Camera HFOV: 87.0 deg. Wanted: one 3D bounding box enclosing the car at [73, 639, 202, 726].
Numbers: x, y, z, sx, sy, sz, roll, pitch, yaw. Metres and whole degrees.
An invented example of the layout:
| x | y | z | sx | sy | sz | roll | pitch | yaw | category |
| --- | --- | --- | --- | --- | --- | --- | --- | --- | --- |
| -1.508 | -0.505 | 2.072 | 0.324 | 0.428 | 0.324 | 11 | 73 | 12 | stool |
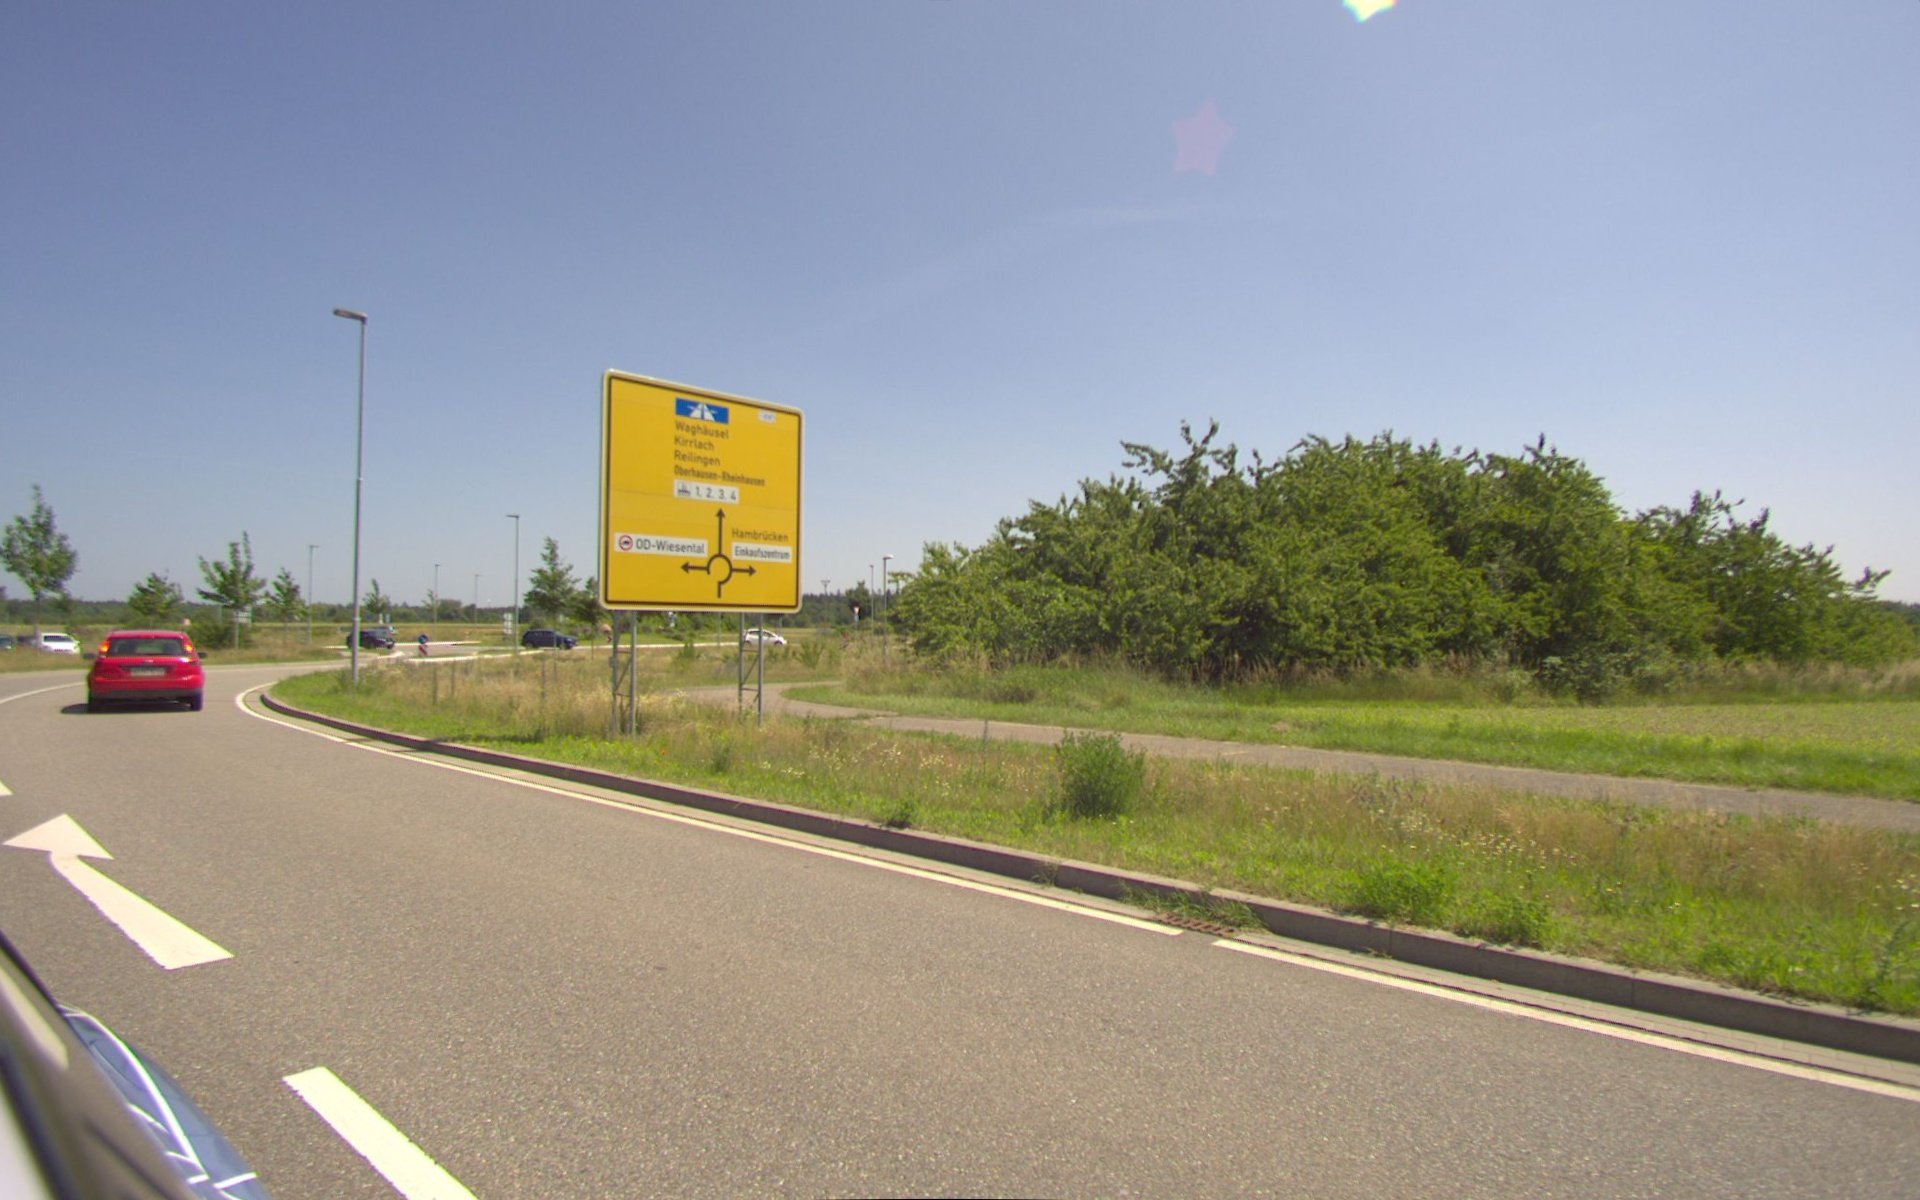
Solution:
| x | y | z | sx | sy | sz | roll | pitch | yaw | category |
| --- | --- | --- | --- | --- | --- | --- | --- | --- | --- |
| -15.390 | 1.482 | 18.876 | 1.635 | 1.444 | 3.741 | 4 | -4 | -41 | car |

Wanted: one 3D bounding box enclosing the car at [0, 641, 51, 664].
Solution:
| x | y | z | sx | sy | sz | roll | pitch | yaw | category |
| --- | --- | --- | --- | --- | --- | --- | --- | --- | --- |
| -57.348 | 3.210 | 61.836 | 3.988 | 1.321 | 1.727 | -1 | -3 | 33 | car |

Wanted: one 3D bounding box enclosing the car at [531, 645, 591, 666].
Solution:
| x | y | z | sx | sy | sz | roll | pitch | yaw | category |
| --- | --- | --- | --- | --- | --- | --- | --- | --- | --- |
| -31.822 | 4.414 | 80.755 | 4.088 | 1.573 | 1.724 | 1 | -1 | -5 | car |

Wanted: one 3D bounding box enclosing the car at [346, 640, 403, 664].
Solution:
| x | y | z | sx | sy | sz | roll | pitch | yaw | category |
| --- | --- | --- | --- | --- | --- | --- | --- | --- | --- |
| -49.694 | 4.385 | 85.888 | 4.492 | 1.836 | 1.855 | 0 | -1 | 23 | car |

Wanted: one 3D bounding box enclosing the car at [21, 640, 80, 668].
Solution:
| x | y | z | sx | sy | sz | roll | pitch | yaw | category |
| --- | --- | --- | --- | --- | --- | --- | --- | --- | --- |
| -49.865 | 2.941 | 55.464 | 3.994 | 1.439 | 1.725 | -1 | -3 | 38 | car |

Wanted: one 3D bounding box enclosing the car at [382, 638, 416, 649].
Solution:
| x | y | z | sx | sy | sz | roll | pitch | yaw | category |
| --- | --- | --- | --- | --- | --- | --- | --- | --- | --- |
| -77.759 | 5.980 | 140.280 | 3.970 | 1.497 | 1.987 | 0 | -3 | 20 | car |

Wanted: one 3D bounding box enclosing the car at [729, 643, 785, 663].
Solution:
| x | y | z | sx | sy | sz | roll | pitch | yaw | category |
| --- | --- | --- | --- | --- | --- | --- | --- | --- | --- |
| -17.054 | 4.447 | 85.099 | 4.444 | 1.573 | 1.875 | 1 | -1 | -15 | car |
